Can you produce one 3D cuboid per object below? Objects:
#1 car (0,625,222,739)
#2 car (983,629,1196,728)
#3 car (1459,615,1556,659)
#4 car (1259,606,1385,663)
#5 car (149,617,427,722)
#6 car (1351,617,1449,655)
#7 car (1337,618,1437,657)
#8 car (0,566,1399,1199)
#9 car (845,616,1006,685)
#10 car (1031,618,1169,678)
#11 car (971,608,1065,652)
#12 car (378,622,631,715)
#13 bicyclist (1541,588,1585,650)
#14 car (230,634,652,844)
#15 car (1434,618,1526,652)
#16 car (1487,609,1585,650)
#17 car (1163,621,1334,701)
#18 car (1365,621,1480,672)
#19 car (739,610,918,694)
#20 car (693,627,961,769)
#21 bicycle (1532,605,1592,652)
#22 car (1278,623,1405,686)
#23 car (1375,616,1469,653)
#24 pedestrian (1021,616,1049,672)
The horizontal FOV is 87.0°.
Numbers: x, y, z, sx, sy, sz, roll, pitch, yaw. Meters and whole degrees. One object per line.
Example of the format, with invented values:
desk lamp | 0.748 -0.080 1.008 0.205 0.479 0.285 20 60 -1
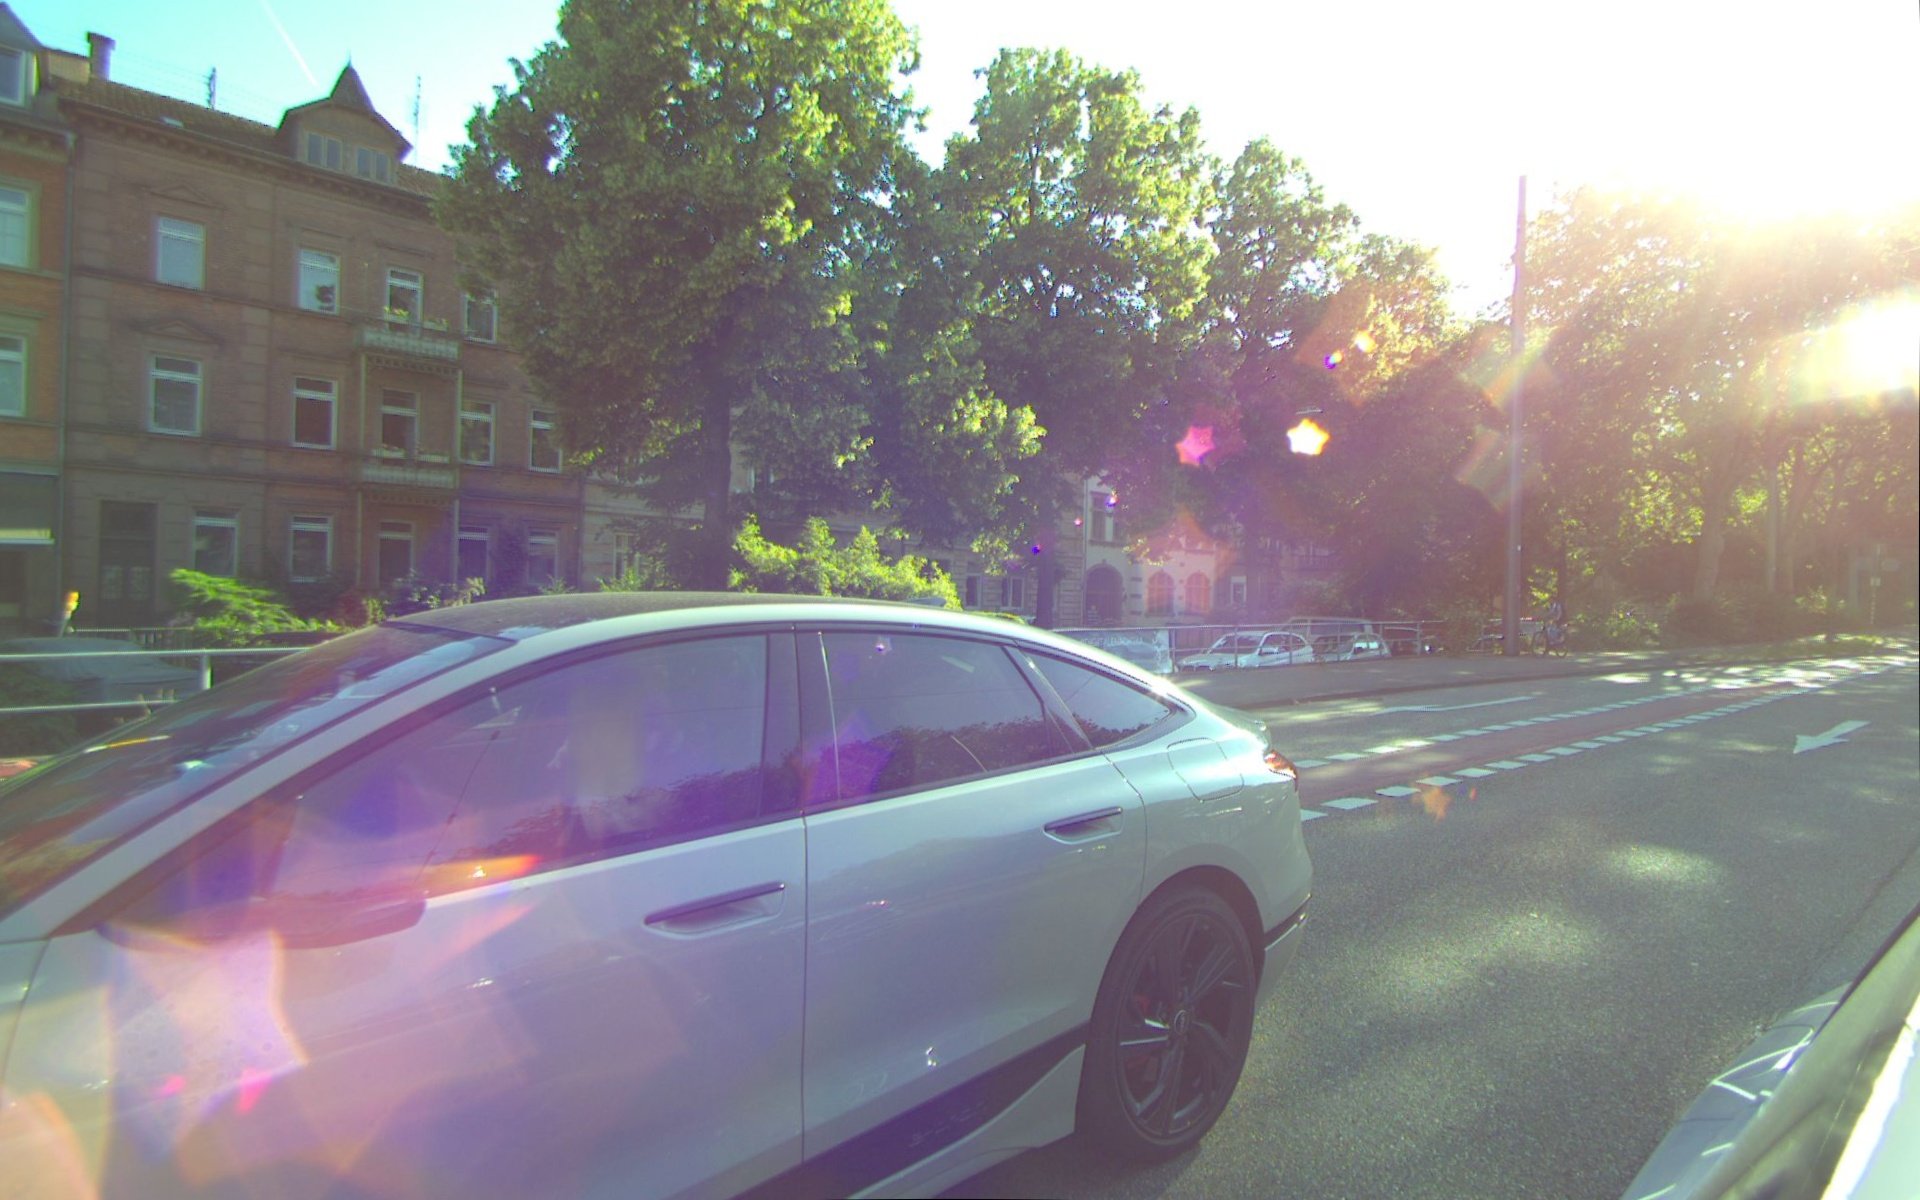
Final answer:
car | -13.713 1.180 15.500 3.940 1.365 1.772 2 1 13
car | 2.684 1.464 20.313 4.365 1.599 1.797 -1 0 -41
car | 19.303 1.254 35.602 3.932 1.325 1.796 -1 1 -42
car | 14.565 1.365 40.988 4.621 1.990 1.862 2 1 18
car | -11.714 1.145 17.736 3.937 1.498 1.794 2 1 11
car | 20.512 1.661 47.355 3.947 1.529 1.790 2 1 18
car | 18.895 1.627 44.943 3.871 1.470 1.680 2 1 17
car | -0.942 0.695 2.608 4.769 1.491 1.933 0 0 -41
car | -0.920 1.313 27.255 3.951 1.532 1.788 2 1 21
car | 4.254 1.417 31.127 1.769 1.532 3.994 1 1 -42
car | 2.327 1.187 41.169 1.770 1.541 3.570 0 2 -43
car | -8.786 1.255 19.624 4.190 1.424 1.955 2 1 16
bicyclist | 15.163 0.471 25.442 0.639 1.532 0.767 0 0 -41
car | -6.180 1.473 12.376 4.286 1.922 1.796 -1 0 -43
car | 27.101 1.796 52.870 3.947 1.529 1.790 2 1 18
car | 32.106 1.614 56.523 4.408 2.039 1.984 2 1 20
car | 7.006 1.375 24.349 4.474 1.599 1.797 -1 0 -41
car | 14.143 1.359 30.859 3.932 1.325 1.796 -1 1 -42
car | -3.176 1.214 24.676 3.939 1.756 1.793 2 1 13
car | -2.032 1.439 16.386 1.793 1.825 4.147 0 0 42
bicycle | 15.131 0.704 25.429 1.768 1.121 0.767 0 1 -41
car | 10.304 1.409 27.231 3.516 1.459 1.796 -1 1 -42
car | 22.549 1.678 49.554 3.947 1.529 1.790 2 1 18
pedestrian | 2.461 1.433 33.195 0.621 1.768 0.648 0 0 -45
